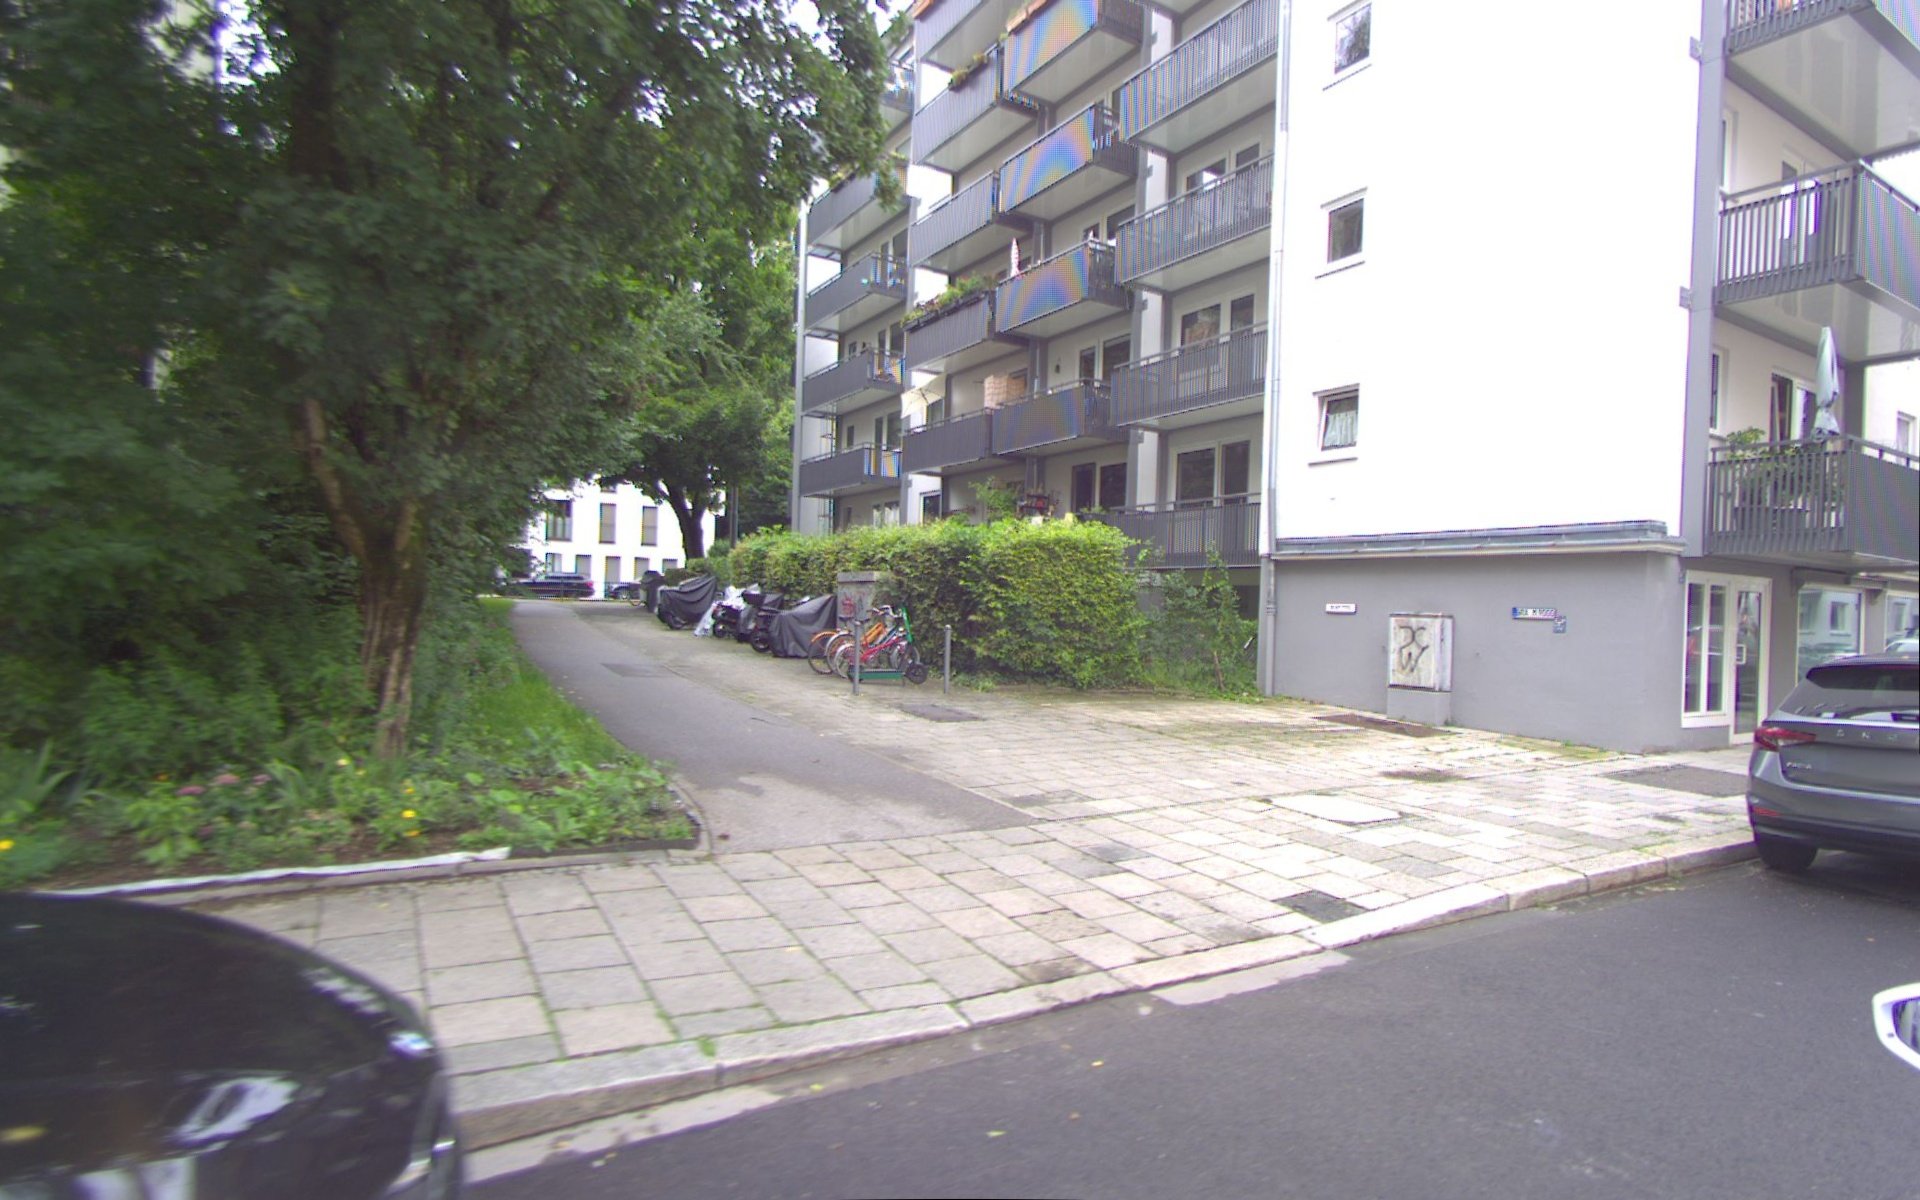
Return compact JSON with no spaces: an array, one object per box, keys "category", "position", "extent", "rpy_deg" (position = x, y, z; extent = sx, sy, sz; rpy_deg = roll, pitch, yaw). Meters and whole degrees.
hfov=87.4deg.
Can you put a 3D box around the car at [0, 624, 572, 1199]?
[{"category":"car","position":[-2.746,0.722,0.754],"extent":[4.332,1.427,1.847],"rpy_deg":[2,-1,-31]}]

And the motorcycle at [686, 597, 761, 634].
[{"category":"motorcycle","position":[-5.652,0.352,24.095],"extent":[0.535,0.848,1.810],"rpy_deg":[2,2,40]}]

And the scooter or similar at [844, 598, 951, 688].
[{"category":"scooter or similar","position":[-0.904,0.624,14.629],"extent":[1.516,1.261,0.345],"rpy_deg":[1,0,-4]}]

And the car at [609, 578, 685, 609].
[{"category":"car","position":[-17.206,-0.344,55.173],"extent":[3.761,1.567,1.761],"rpy_deg":[1,1,-27]}]

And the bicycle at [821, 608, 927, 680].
[{"category":"bicycle","position":[-1.299,0.667,15.356],"extent":[1.590,1.052,0.421],"rpy_deg":[1,0,-33]}]

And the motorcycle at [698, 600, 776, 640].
[{"category":"motorcycle","position":[-5.123,0.442,23.172],"extent":[0.535,0.848,1.810],"rpy_deg":[2,2,40]}]

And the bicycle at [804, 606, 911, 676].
[{"category":"bicycle","position":[-1.594,0.632,15.717],"extent":[1.590,1.052,0.511],"rpy_deg":[1,0,-33]}]

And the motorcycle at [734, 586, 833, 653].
[{"category":"motorcycle","position":[-3.362,0.357,19.195],"extent":[1.798,1.214,0.539],"rpy_deg":[0,2,-30]}]

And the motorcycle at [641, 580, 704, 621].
[{"category":"motorcycle","position":[-8.434,-0.006,29.542],"extent":[0.535,1.161,1.810],"rpy_deg":[2,2,40]}]

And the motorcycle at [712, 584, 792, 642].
[{"category":"motorcycle","position":[-4.577,0.264,22.210],"extent":[0.535,1.214,1.810],"rpy_deg":[2,2,40]}]

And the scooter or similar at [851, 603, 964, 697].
[{"category":"scooter or similar","position":[-0.695,0.664,13.617],"extent":[1.553,1.218,0.319],"rpy_deg":[1,0,-33]}]

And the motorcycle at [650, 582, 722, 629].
[{"category":"motorcycle","position":[-7.020,0.119,25.785],"extent":[0.535,1.161,1.810],"rpy_deg":[2,2,40]}]

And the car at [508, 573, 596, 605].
[{"category":"car","position":[-21.439,-0.576,52.817],"extent":[4.189,1.567,1.761],"rpy_deg":[1,1,-27]}]

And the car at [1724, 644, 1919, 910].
[{"category":"car","position":[7.006,1.065,6.730],"extent":[3.897,1.461,1.684],"rpy_deg":[2,-1,-31]}]

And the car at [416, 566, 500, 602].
[{"category":"car","position":[-25.541,-0.796,51.199],"extent":[3.761,1.729,1.761],"rpy_deg":[1,1,-27]}]
